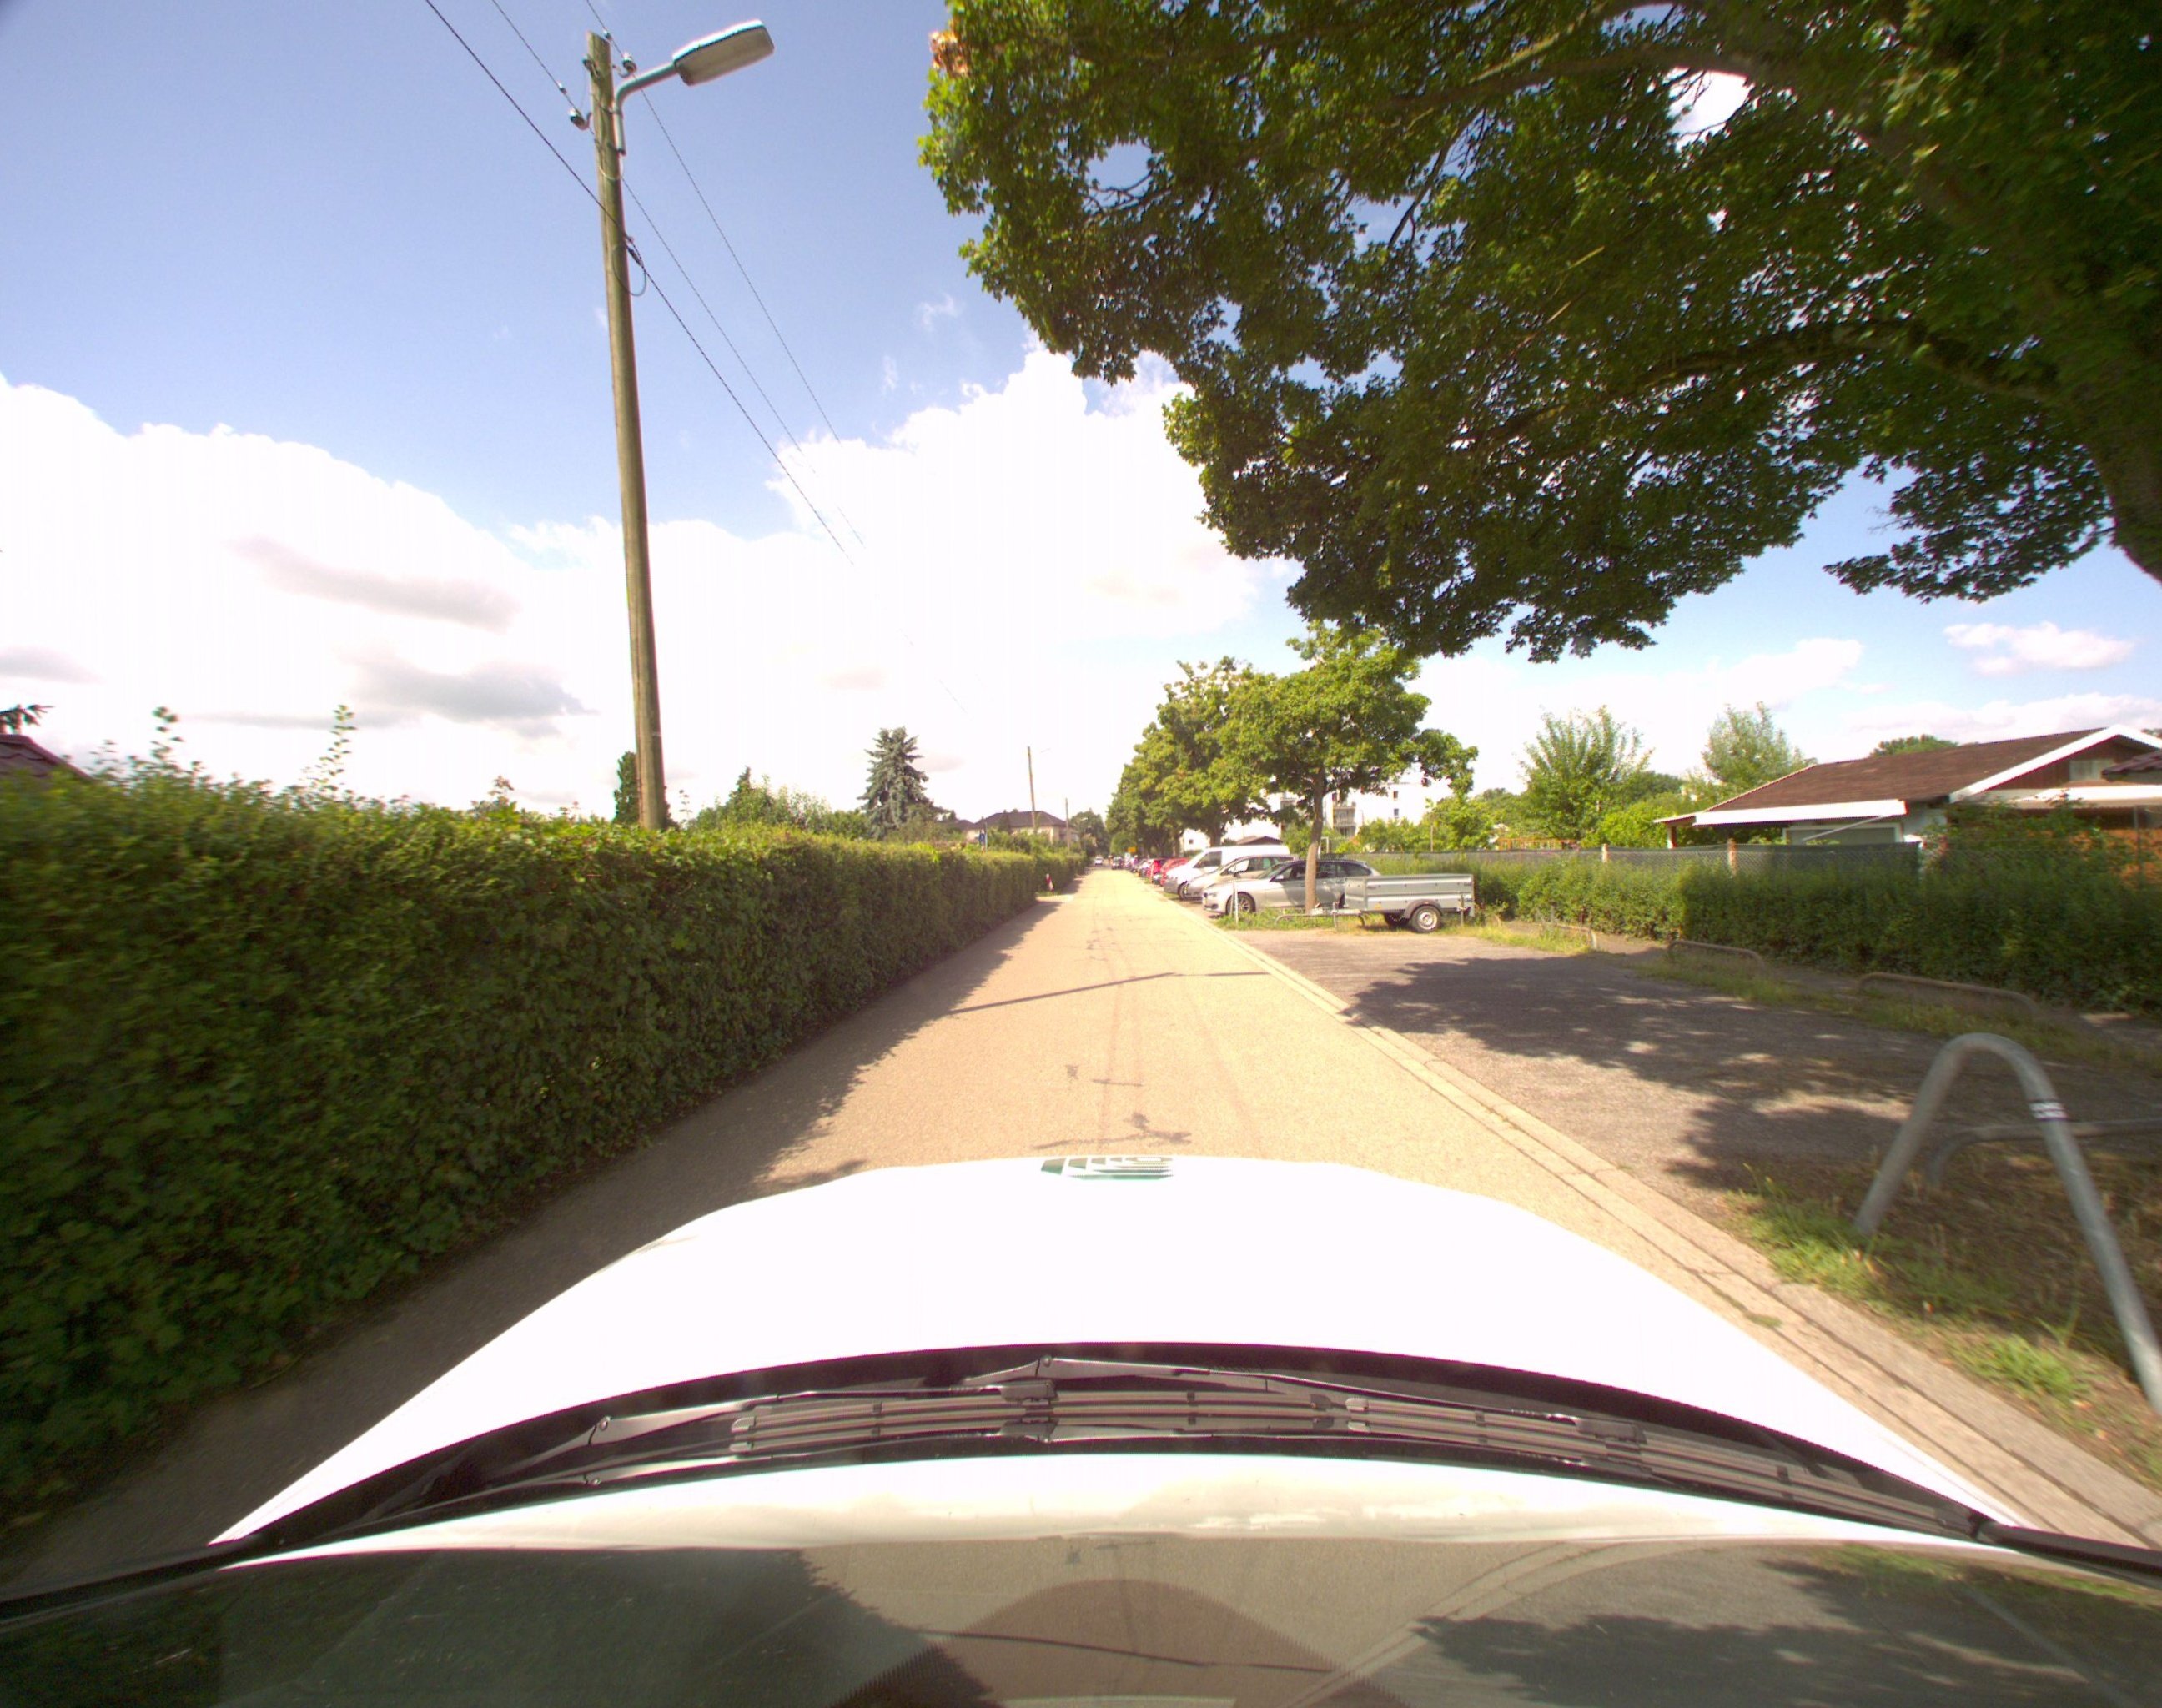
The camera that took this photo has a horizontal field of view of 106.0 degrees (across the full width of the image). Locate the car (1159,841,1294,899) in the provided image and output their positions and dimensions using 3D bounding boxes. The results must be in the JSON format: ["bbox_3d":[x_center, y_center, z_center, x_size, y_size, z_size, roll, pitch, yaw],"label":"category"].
[{"bbox_3d":[5.374,0.575,30.522,4.620,1.886,2.111,-3,0,-1],"label":"car"}]

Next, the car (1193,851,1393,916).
[{"bbox_3d":[5.318,0.717,20.815,4.566,1.466,1.999,-1,0,-2],"label":"car"}]

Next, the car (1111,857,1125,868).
[{"bbox_3d":[5.253,1.201,114.973,1.655,1.506,4.007,0,-1,7],"label":"car"}]

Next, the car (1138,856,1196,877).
[{"bbox_3d":[6.247,0.914,59.597,4.053,1.455,1.869,0,-1,-1],"label":"car"}]

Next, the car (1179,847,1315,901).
[{"bbox_3d":[5.563,0.661,27.771,4.227,1.592,2.001,-3,0,1],"label":"car"}]

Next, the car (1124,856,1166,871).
[{"bbox_3d":[7.084,1.047,90.110,4.533,1.578,1.808,0,-1,0],"label":"car"}]

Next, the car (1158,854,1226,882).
[{"bbox_3d":[6.521,0.830,48.103,3.751,1.574,1.870,0,-1,1],"label":"car"}]

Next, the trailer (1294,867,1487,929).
[{"bbox_3d":[5.988,0.830,16.064,3.088,1.142,2.001,0,-1,2],"label":"trailer"}]

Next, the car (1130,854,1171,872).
[{"bbox_3d":[7.101,0.928,83.458,4.139,1.637,1.879,-2,-1,1],"label":"car"}]

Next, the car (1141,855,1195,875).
[{"bbox_3d":[6.716,0.875,63.196,4.046,1.511,1.960,0,-1,4],"label":"car"}]

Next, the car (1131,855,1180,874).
[{"bbox_3d":[6.653,0.930,72.867,4.287,1.594,2.000,0,-1,1],"label":"car"}]

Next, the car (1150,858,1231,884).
[{"bbox_3d":[6.051,0.944,45.385,4.228,1.428,1.906,0,-1,-3],"label":"car"}]

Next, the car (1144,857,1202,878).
[{"bbox_3d":[6.353,0.946,56.425,3.892,1.424,1.960,0,-1,4],"label":"car"}]

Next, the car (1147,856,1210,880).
[{"bbox_3d":[6.298,0.901,52.910,3.968,1.519,1.857,0,-1,5],"label":"car"}]

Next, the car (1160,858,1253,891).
[{"bbox_3d":[5.843,0.960,38.236,4.166,1.504,1.879,0,-1,2],"label":"car"}]

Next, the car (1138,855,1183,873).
[{"bbox_3d":[6.824,0.892,70.280,3.713,1.540,1.848,0,-1,-2],"label":"car"}]

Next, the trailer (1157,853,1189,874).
[{"bbox_3d":[7.607,0.777,67.376,2.443,1.720,1.517,0,0,-2],"label":"trailer"}]

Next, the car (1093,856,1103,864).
[{"bbox_3d":[3.877,1.367,183.443,1.894,1.814,4.004,0,-1,4],"label":"car"}]
